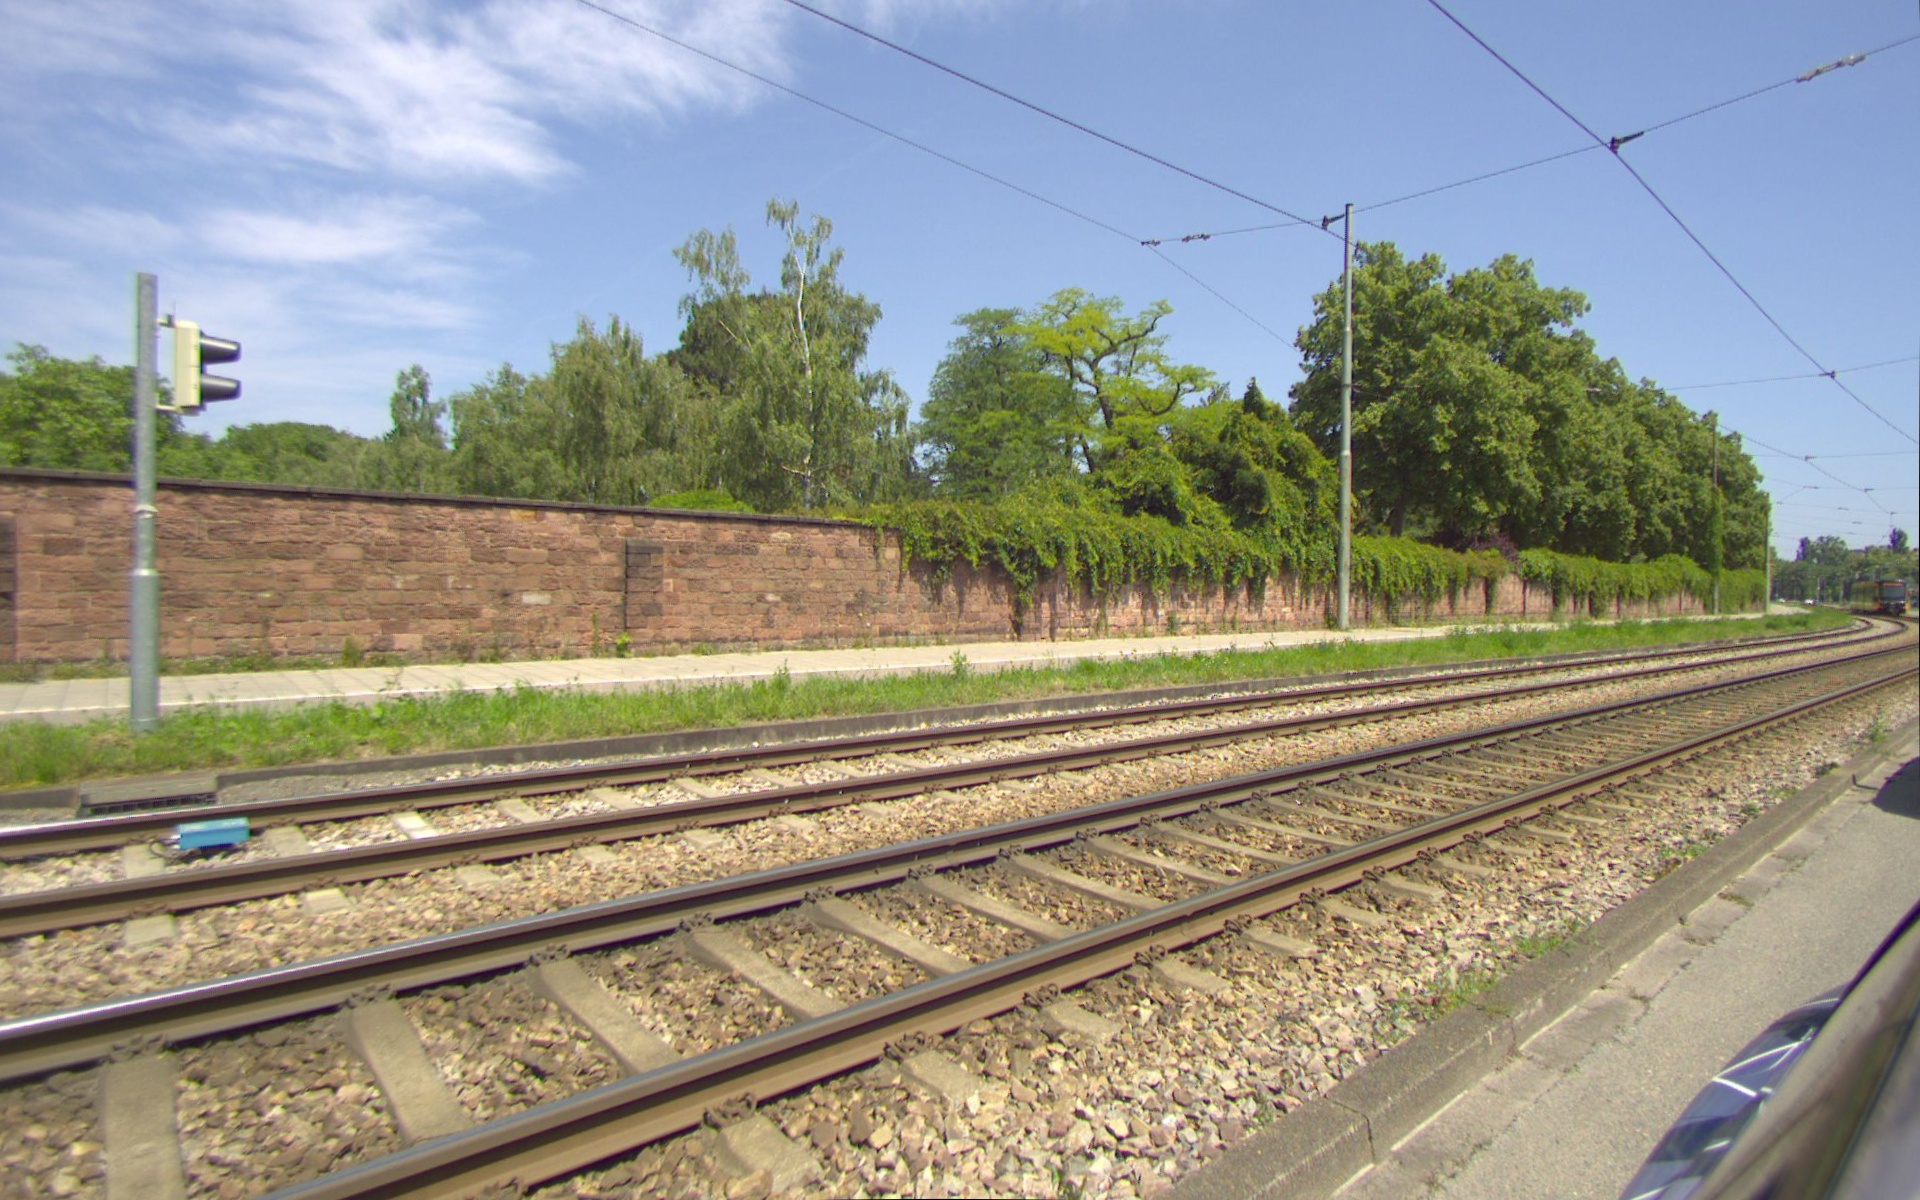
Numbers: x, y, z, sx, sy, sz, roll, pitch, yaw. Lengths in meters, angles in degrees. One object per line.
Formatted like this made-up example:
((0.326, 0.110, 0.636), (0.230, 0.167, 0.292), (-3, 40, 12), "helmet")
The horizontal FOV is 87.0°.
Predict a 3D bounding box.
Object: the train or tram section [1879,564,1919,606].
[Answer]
((93.283, -1.470, 99.975), (14.027, 3.855, 2.808), (-1, 1, -44), "train or tram section")

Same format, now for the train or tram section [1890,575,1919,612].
((103.332, -0.739, 109.723), (14.025, 3.859, 2.779), (-1, 1, -44), "train or tram section")
